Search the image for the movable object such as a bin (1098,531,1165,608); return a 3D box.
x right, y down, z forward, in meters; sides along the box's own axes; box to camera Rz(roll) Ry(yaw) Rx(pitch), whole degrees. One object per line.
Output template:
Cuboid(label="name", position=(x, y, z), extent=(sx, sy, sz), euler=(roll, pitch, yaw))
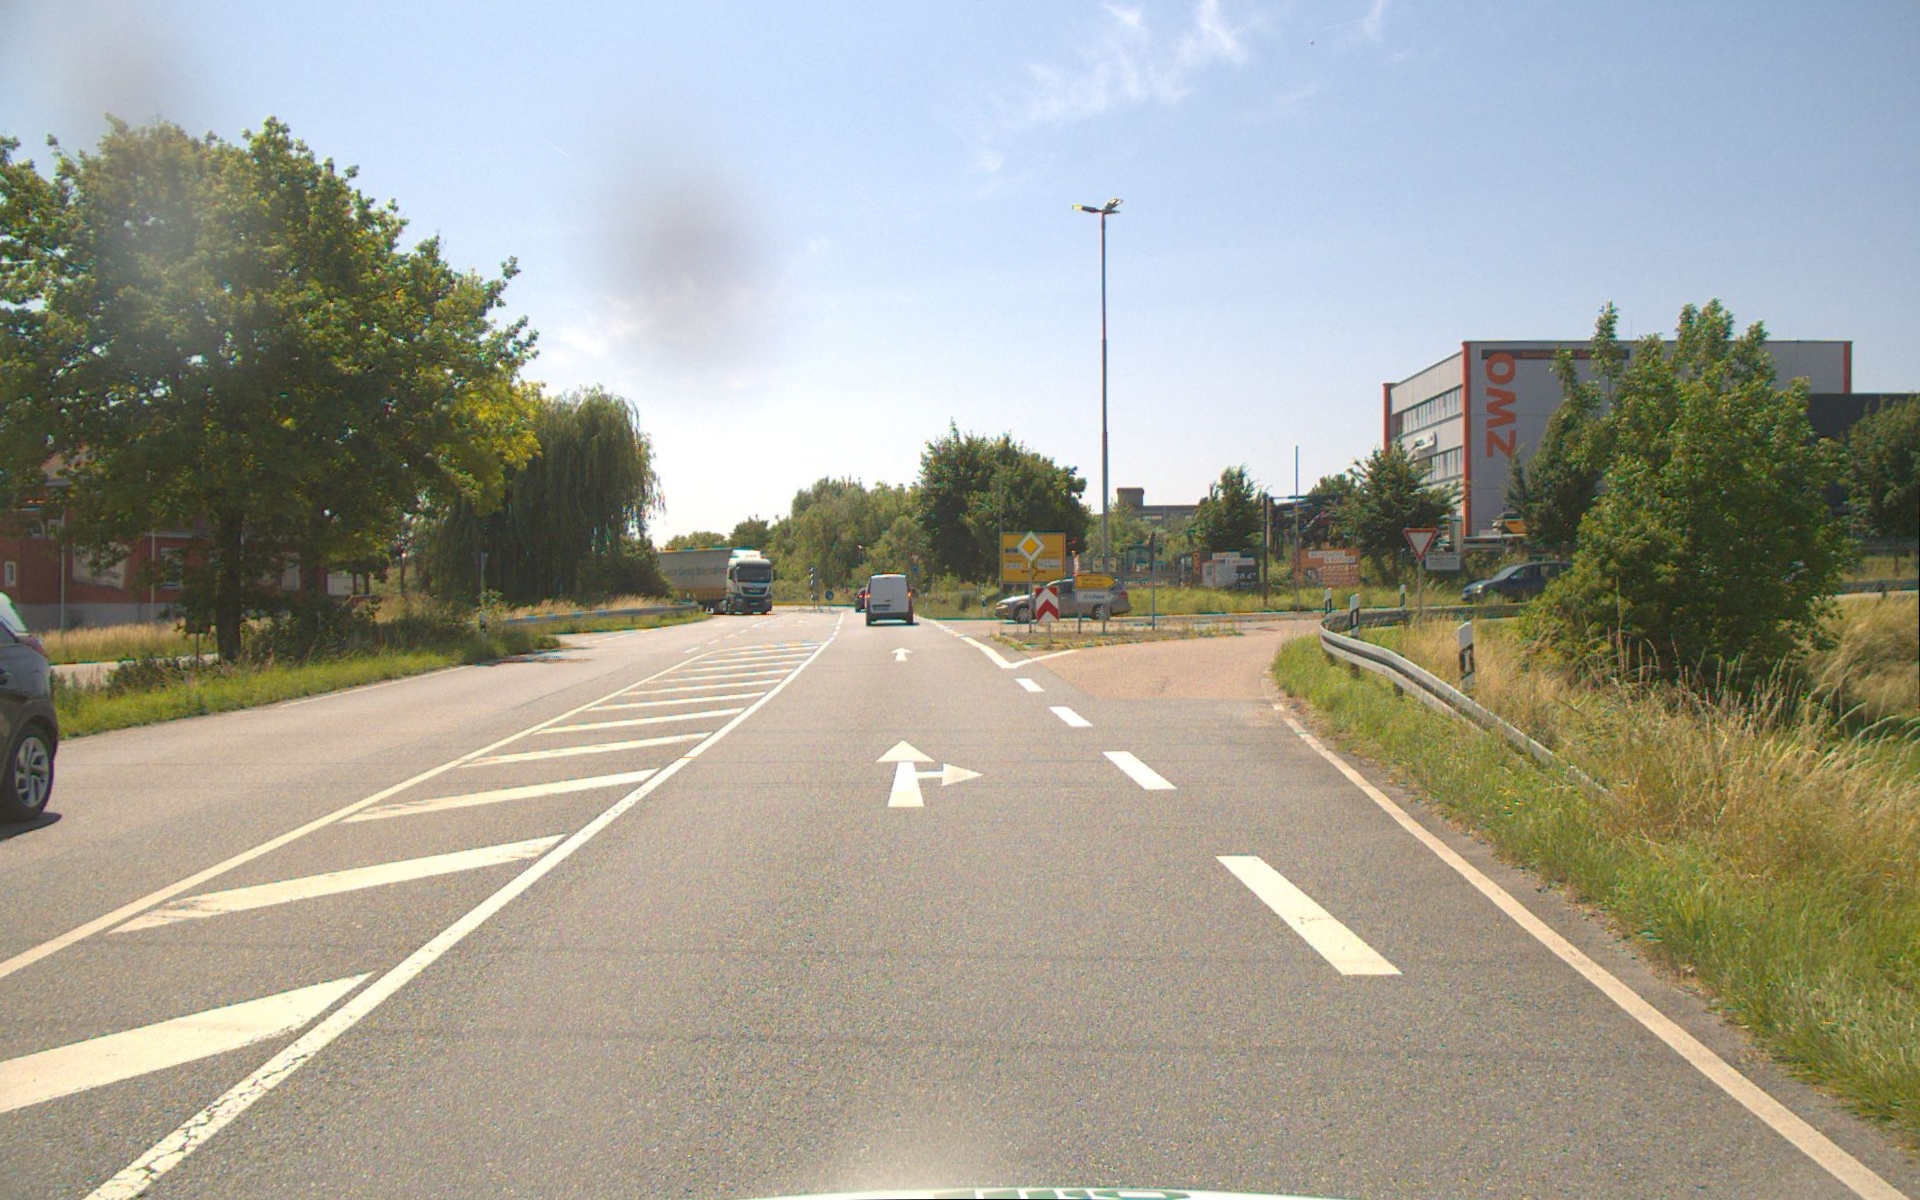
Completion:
Cuboid(label="movable object such as a bin", position=(7.981, -1.369, 77.258), extent=(2.277, 3.307, 5.097), euler=(1, -1, -3))

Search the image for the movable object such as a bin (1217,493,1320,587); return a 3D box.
Cuboid(label="movable object such as a bin", position=(18.557, -3.590, 99.689), extent=(5.600, 5.362, 3.221), euler=(1, -2, -1))

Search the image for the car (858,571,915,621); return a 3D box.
Cuboid(label="car", position=(-2.728, -0.151, 60.554), extent=(1.867, 1.763, 3.817), euler=(0, 0, -6))

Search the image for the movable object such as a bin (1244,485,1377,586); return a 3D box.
Cuboid(label="movable object such as a bin", position=(19.171, -3.491, 90.753), extent=(6.456, 5.238, 3.805), euler=(1, -2, -1))

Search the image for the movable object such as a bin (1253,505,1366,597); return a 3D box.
Cuboid(label="movable object such as a bin", position=(17.353, -2.405, 82.258), extent=(4.981, 4.350, 2.834), euler=(1, -2, -1))

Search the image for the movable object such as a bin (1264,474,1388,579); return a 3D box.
Cuboid(label="movable object such as a bin", position=(19.166, -3.829, 86.853), extent=(5.798, 5.195, 3.108), euler=(1, -2, -1))

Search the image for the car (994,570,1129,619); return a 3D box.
Cuboid(label="car", position=(3.443, -0.210, 56.822), extent=(4.421, 1.534, 1.913), euler=(-1, 1, -3))

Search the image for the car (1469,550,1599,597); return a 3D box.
Cuboid(label="car", position=(19.760, -0.905, 57.040), extent=(3.918, 1.465, 1.635), euler=(-2, 1, -1))

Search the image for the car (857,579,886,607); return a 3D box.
Cuboid(label="car", position=(-5.460, -0.432, 101.694), extent=(1.769, 1.583, 3.998), euler=(-1, 2, -4))

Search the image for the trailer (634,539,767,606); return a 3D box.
Cuboid(label="trailer", position=(-17.169, -1.872, 108.372), extent=(2.768, 4.127, 13.329), euler=(1, 1, -36))

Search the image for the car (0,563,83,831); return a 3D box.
Cuboid(label="car", position=(-6.555, 0.580, 9.055), extent=(1.699, 1.618, 3.953), euler=(1, 0, -6))

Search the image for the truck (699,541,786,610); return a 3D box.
Cuboid(label="truck", position=(-13.606, -1.549, 103.199), extent=(2.764, 4.127, 6.678), euler=(1, 1, -33))
